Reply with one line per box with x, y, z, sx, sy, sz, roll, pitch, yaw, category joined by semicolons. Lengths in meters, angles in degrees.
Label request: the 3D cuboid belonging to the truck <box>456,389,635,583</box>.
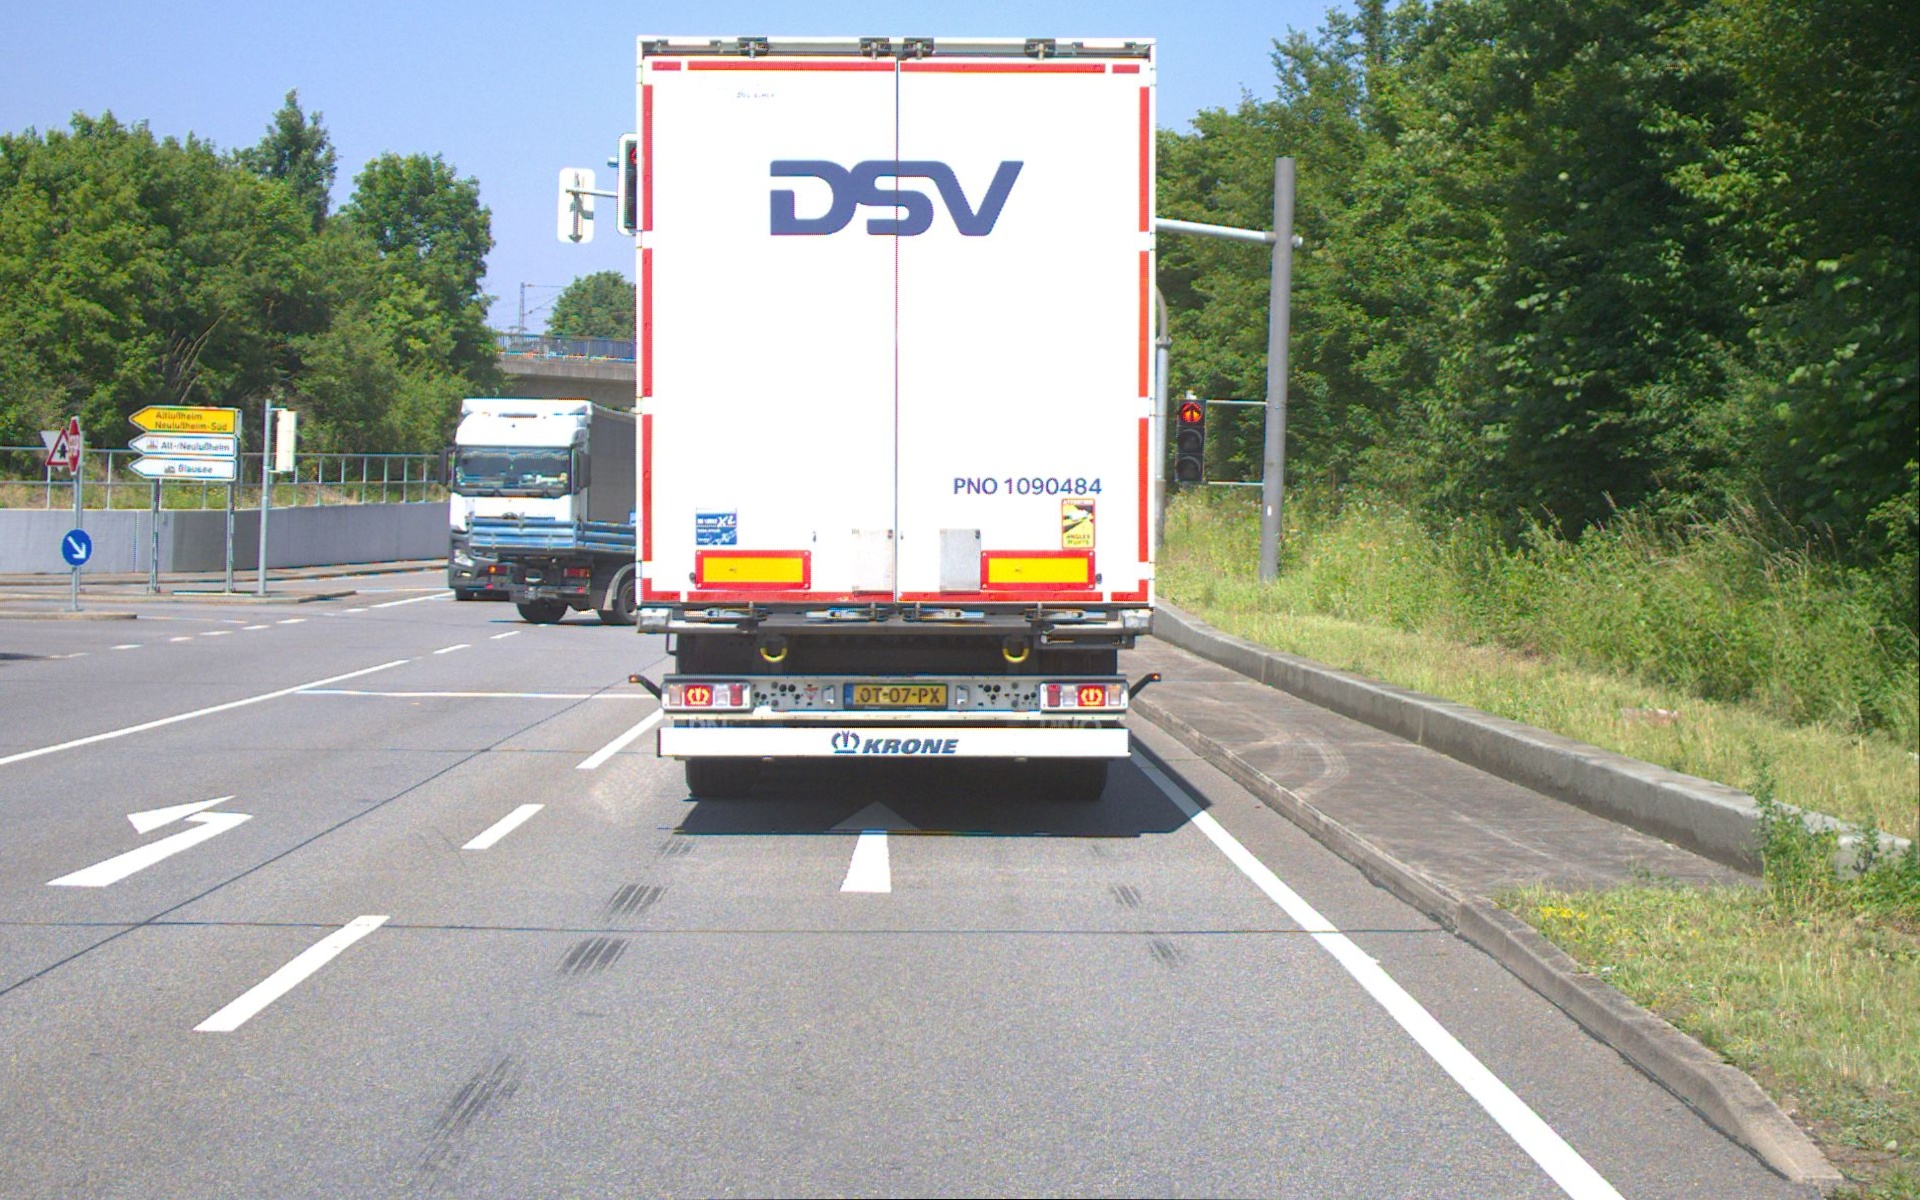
-8.640;-2.415;72.992;2.353;3.737;12.627;1;2;0;truck

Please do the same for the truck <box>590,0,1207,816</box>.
-0.313;-1.345;21.599;2.950;4.553;9.863;1;1;0;truck

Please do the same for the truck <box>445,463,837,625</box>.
-5.134;-0.915;56.367;2.712;2.490;6.417;2;1;38;truck
